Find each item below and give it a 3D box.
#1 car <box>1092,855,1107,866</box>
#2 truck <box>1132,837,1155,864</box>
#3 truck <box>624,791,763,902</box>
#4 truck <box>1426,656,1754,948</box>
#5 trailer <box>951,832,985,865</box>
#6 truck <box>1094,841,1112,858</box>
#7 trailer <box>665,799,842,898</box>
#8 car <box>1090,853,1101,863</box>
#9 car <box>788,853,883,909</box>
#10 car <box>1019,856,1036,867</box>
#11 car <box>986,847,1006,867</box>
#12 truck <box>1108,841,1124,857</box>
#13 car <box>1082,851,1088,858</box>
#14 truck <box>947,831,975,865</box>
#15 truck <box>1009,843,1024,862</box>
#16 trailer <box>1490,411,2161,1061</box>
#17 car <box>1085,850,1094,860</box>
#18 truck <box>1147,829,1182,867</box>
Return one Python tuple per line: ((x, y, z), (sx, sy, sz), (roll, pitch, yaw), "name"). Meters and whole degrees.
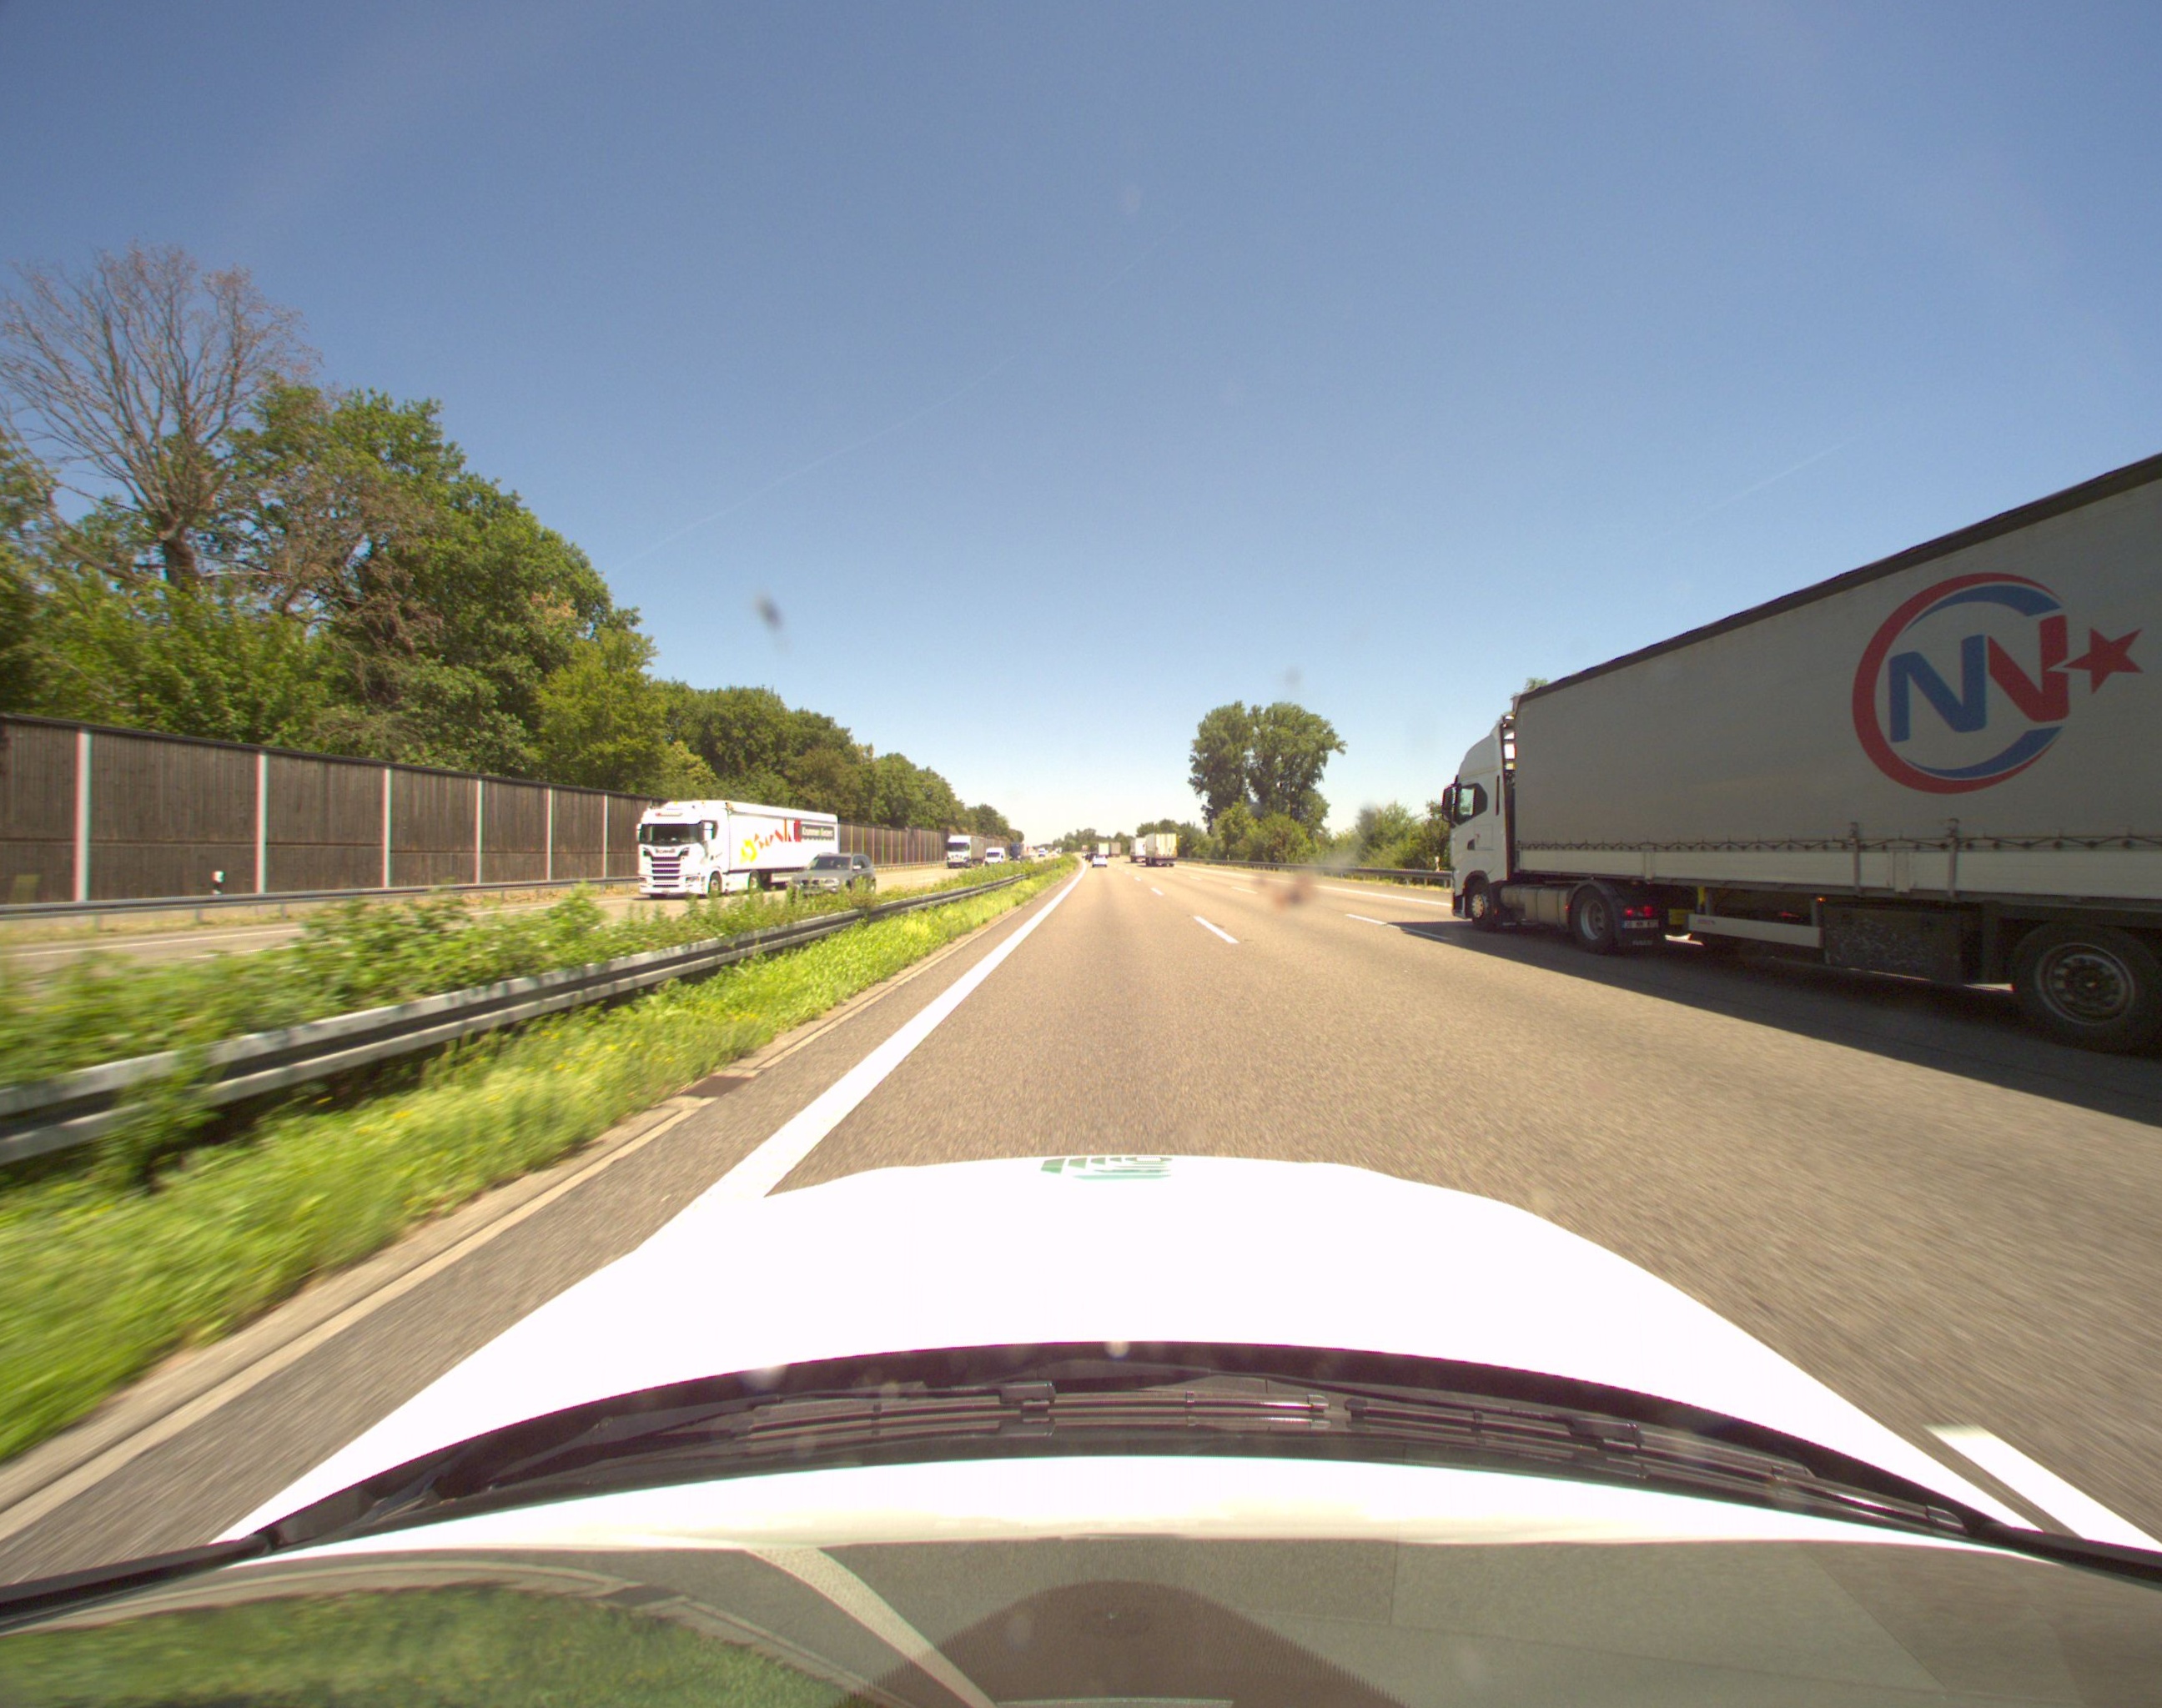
((2.284, 0.804, 99.366), (1.709, 1.369, 3.376), (-1, 0, 1), "car")
((10.188, -0.499, 134.654), (3.347, 4.311, 10.833), (0, 0, 2), "truck")
((-15.827, -0.270, 33.795), (2.720, 4.193, 6.038), (0, -1, 1), "truck")
((8.660, -0.751, 14.746), (2.596, 4.287, 5.437), (0, -1, 1), "truck")
((-14.752, -0.689, 107.422), (2.496, 4.034, 13.421), (0, 0, 1), "trailer")
((5.688, -1.098, 213.031), (3.571, 4.311, 12.177), (0, 0, -3), "truck")
((-15.650, -0.163, 40.884), (2.744, 4.074, 14.393), (0, 0, 1), "trailer")
((2.650, 0.654, 149.752), (1.985, 1.772, 4.003), (-1, 0, 2), "car")
((-7.906, 0.813, 26.652), (1.759, 1.651, 4.040), (-1, 0, 2), "car")
((-6.869, 0.965, 104.536), (1.754, 1.428, 3.936), (-1, 0, 1), "car")
((-10.706, 0.367, 103.288), (2.074, 2.401, 6.038), (-1, 0, -2), "car")
((9.843, -1.373, 233.033), (3.820, 4.311, 11.546), (0, 0, -2), "truck")
((1.094, 0.142, 220.724), (1.717, 1.783, 4.001), (-1, 0, 1), "car")
((-14.820, -0.734, 101.084), (2.493, 4.055, 6.362), (-1, 0, 0), "truck")
((-14.659, -0.280, 186.724), (2.602, 4.128, 10.278), (-1, 0, 0), "truck")
((8.460, -0.762, 7.521), (2.614, 4.261, 14.064), (0, 0, 2), "trailer")
((1.881, 0.240, 176.783), (1.986, 2.013, 4.001), (-1, 0, 1), "car")
((10.040, -0.679, 99.264), (3.479, 4.311, 10.993), (0, 0, 2), "truck")
